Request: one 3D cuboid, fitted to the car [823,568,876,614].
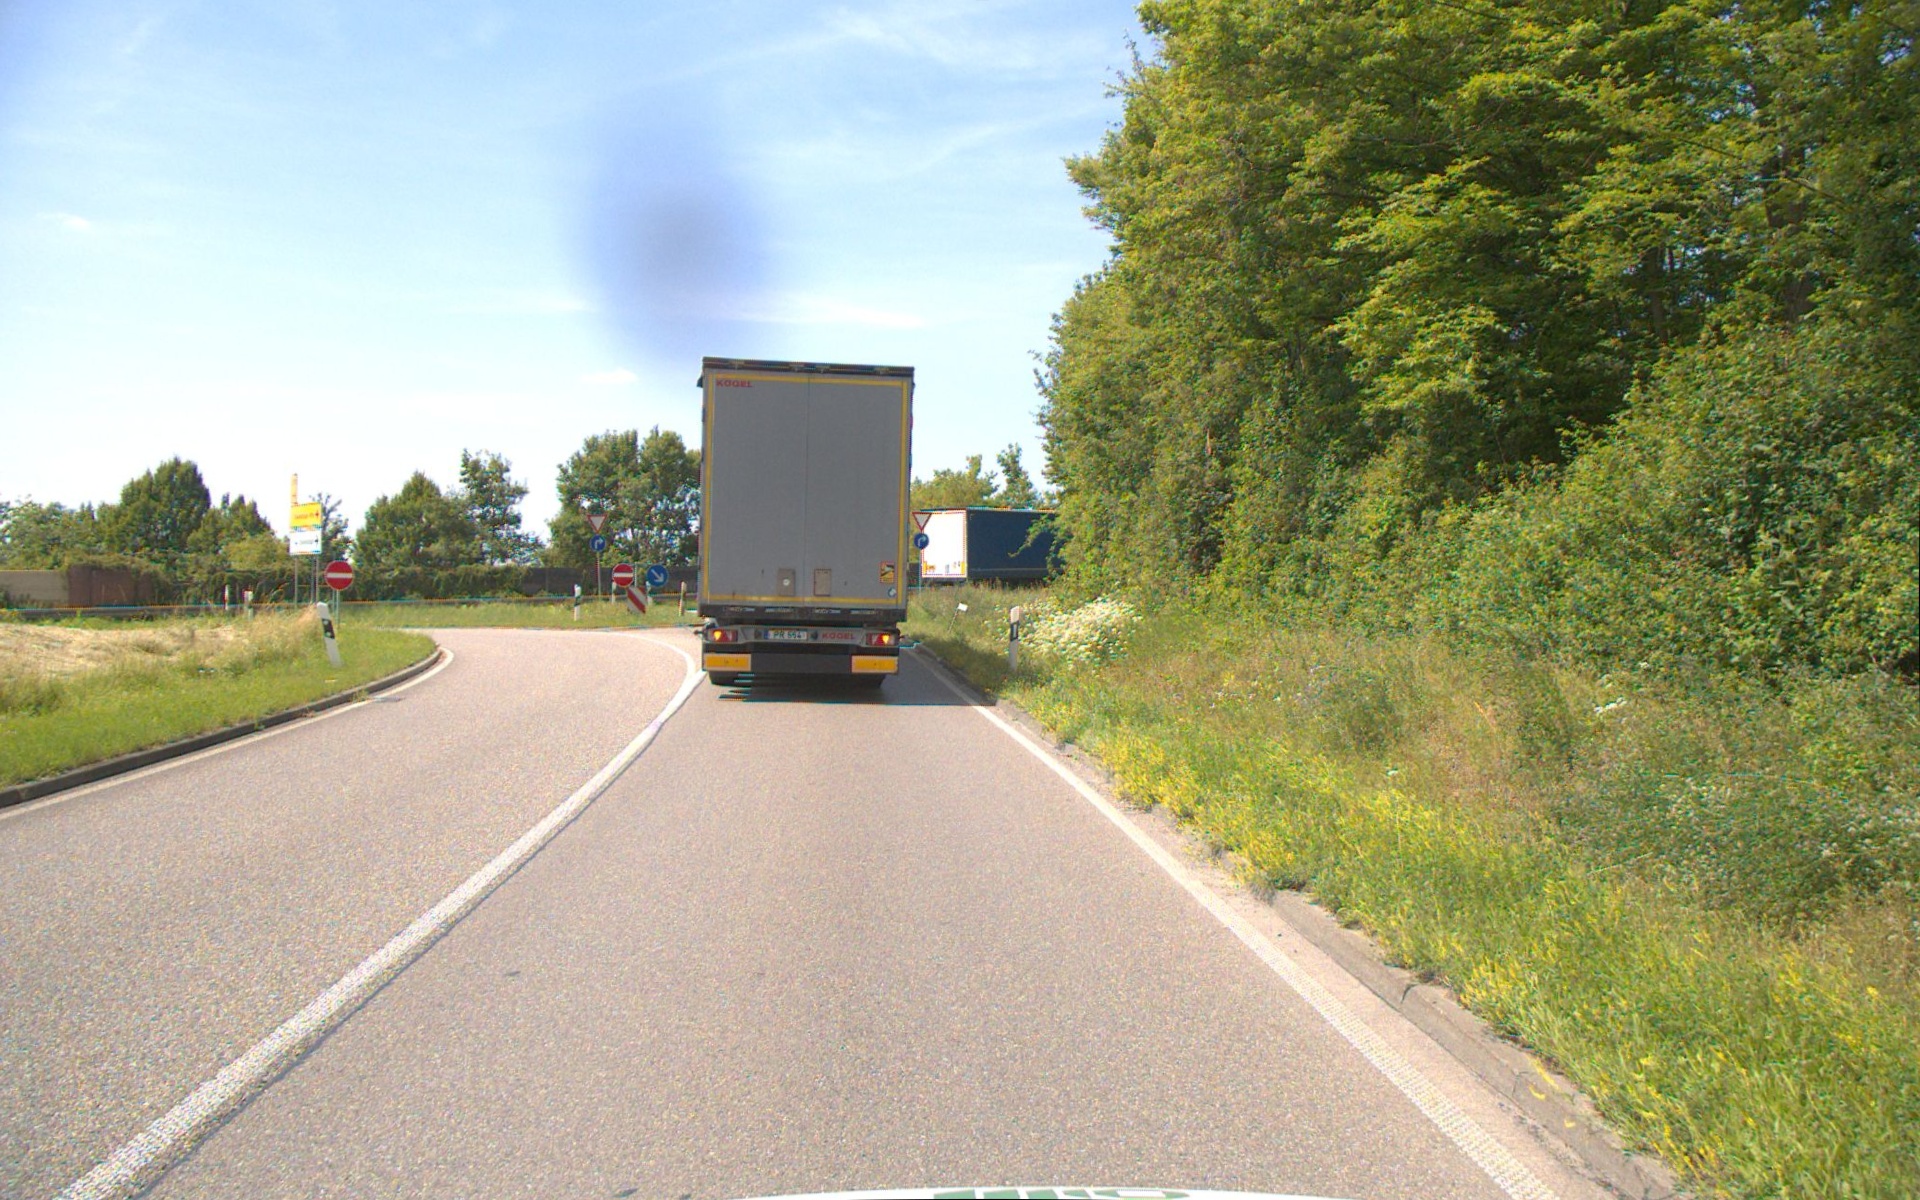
[{"bbox_3d":[-3.777,-0.325,57.008,1.632,1.512,3.999,-1,1,-1],"label":"car"}]

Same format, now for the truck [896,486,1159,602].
[{"bbox_3d":[3.564,-2.497,76.738,3.765,4.827,16.138,-1,1,37],"label":"truck"}]

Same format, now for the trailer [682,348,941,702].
[{"bbox_3d":[-2.315,-0.996,26.146,2.968,4.104,13.339,1,1,-5],"label":"trailer"}]
